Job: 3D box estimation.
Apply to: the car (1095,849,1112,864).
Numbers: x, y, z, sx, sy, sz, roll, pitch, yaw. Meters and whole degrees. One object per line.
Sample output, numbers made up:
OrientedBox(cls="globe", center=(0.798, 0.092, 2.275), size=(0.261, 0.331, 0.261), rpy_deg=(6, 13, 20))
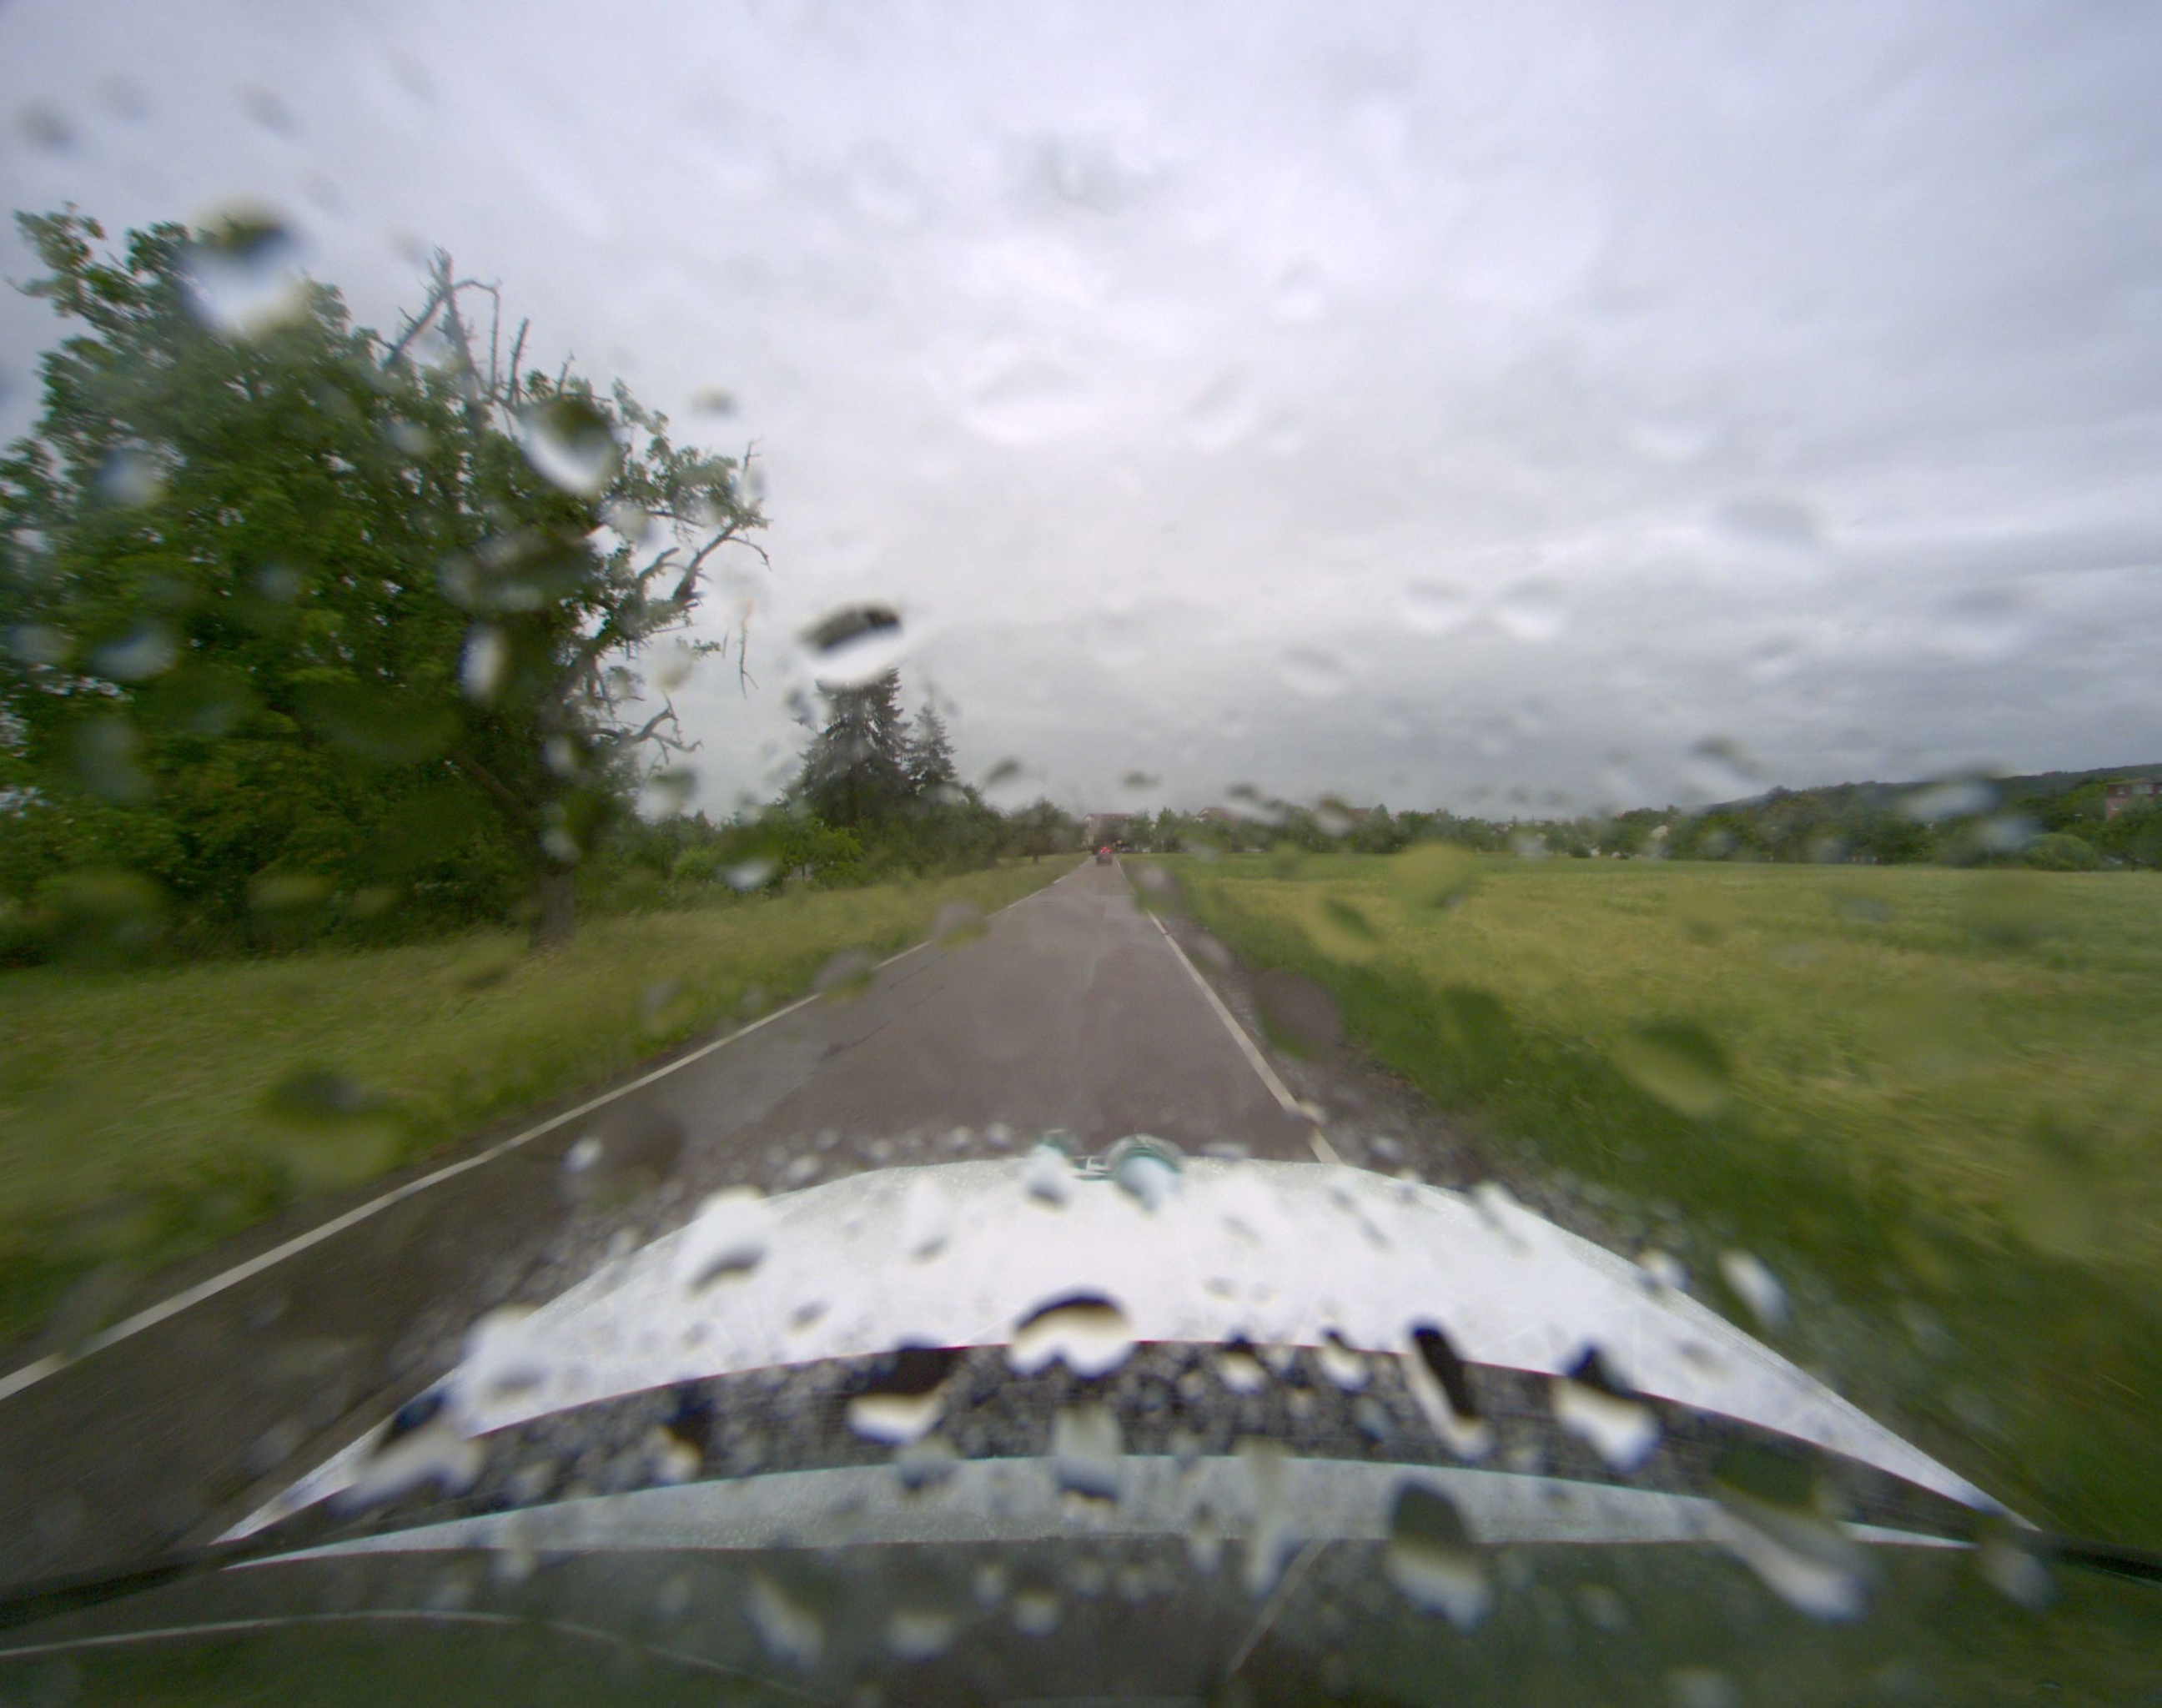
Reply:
OrientedBox(cls="car", center=(2.539, 0.247, 91.100), size=(1.807, 1.594, 4.003), rpy_deg=(-1, -1, 3))

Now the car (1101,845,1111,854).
OrientedBox(cls="car", center=(4.728, -0.848, 152.403), size=(1.807, 1.594, 4.003), rpy_deg=(-1, -1, 3))

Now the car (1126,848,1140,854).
OrientedBox(cls="car", center=(13.032, -0.708, 203.980), size=(1.645, 1.546, 4.025), rpy_deg=(-2, -1, 37))

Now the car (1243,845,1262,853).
OrientedBox(cls="car", center=(35.036, -1.088, 166.589), size=(3.682, 1.564, 1.617), rpy_deg=(-1, -1, 15))

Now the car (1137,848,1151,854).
OrientedBox(cls="car", center=(16.211, -0.686, 208.169), size=(1.645, 1.546, 4.025), rpy_deg=(-2, -1, 37))

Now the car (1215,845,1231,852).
OrientedBox(cls="car", center=(29.331, -1.187, 168.438), size=(3.169, 1.371, 1.578), rpy_deg=(-1, -1, 15))

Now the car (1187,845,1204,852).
OrientedBox(cls="car", center=(23.875, -1.078, 169.659), size=(3.365, 1.371, 1.554), rpy_deg=(-1, -1, 15))

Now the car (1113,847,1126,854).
OrientedBox(cls="car", center=(9.396, -0.803, 198.746), size=(1.645, 1.546, 4.023), rpy_deg=(-1, -1, 26))
